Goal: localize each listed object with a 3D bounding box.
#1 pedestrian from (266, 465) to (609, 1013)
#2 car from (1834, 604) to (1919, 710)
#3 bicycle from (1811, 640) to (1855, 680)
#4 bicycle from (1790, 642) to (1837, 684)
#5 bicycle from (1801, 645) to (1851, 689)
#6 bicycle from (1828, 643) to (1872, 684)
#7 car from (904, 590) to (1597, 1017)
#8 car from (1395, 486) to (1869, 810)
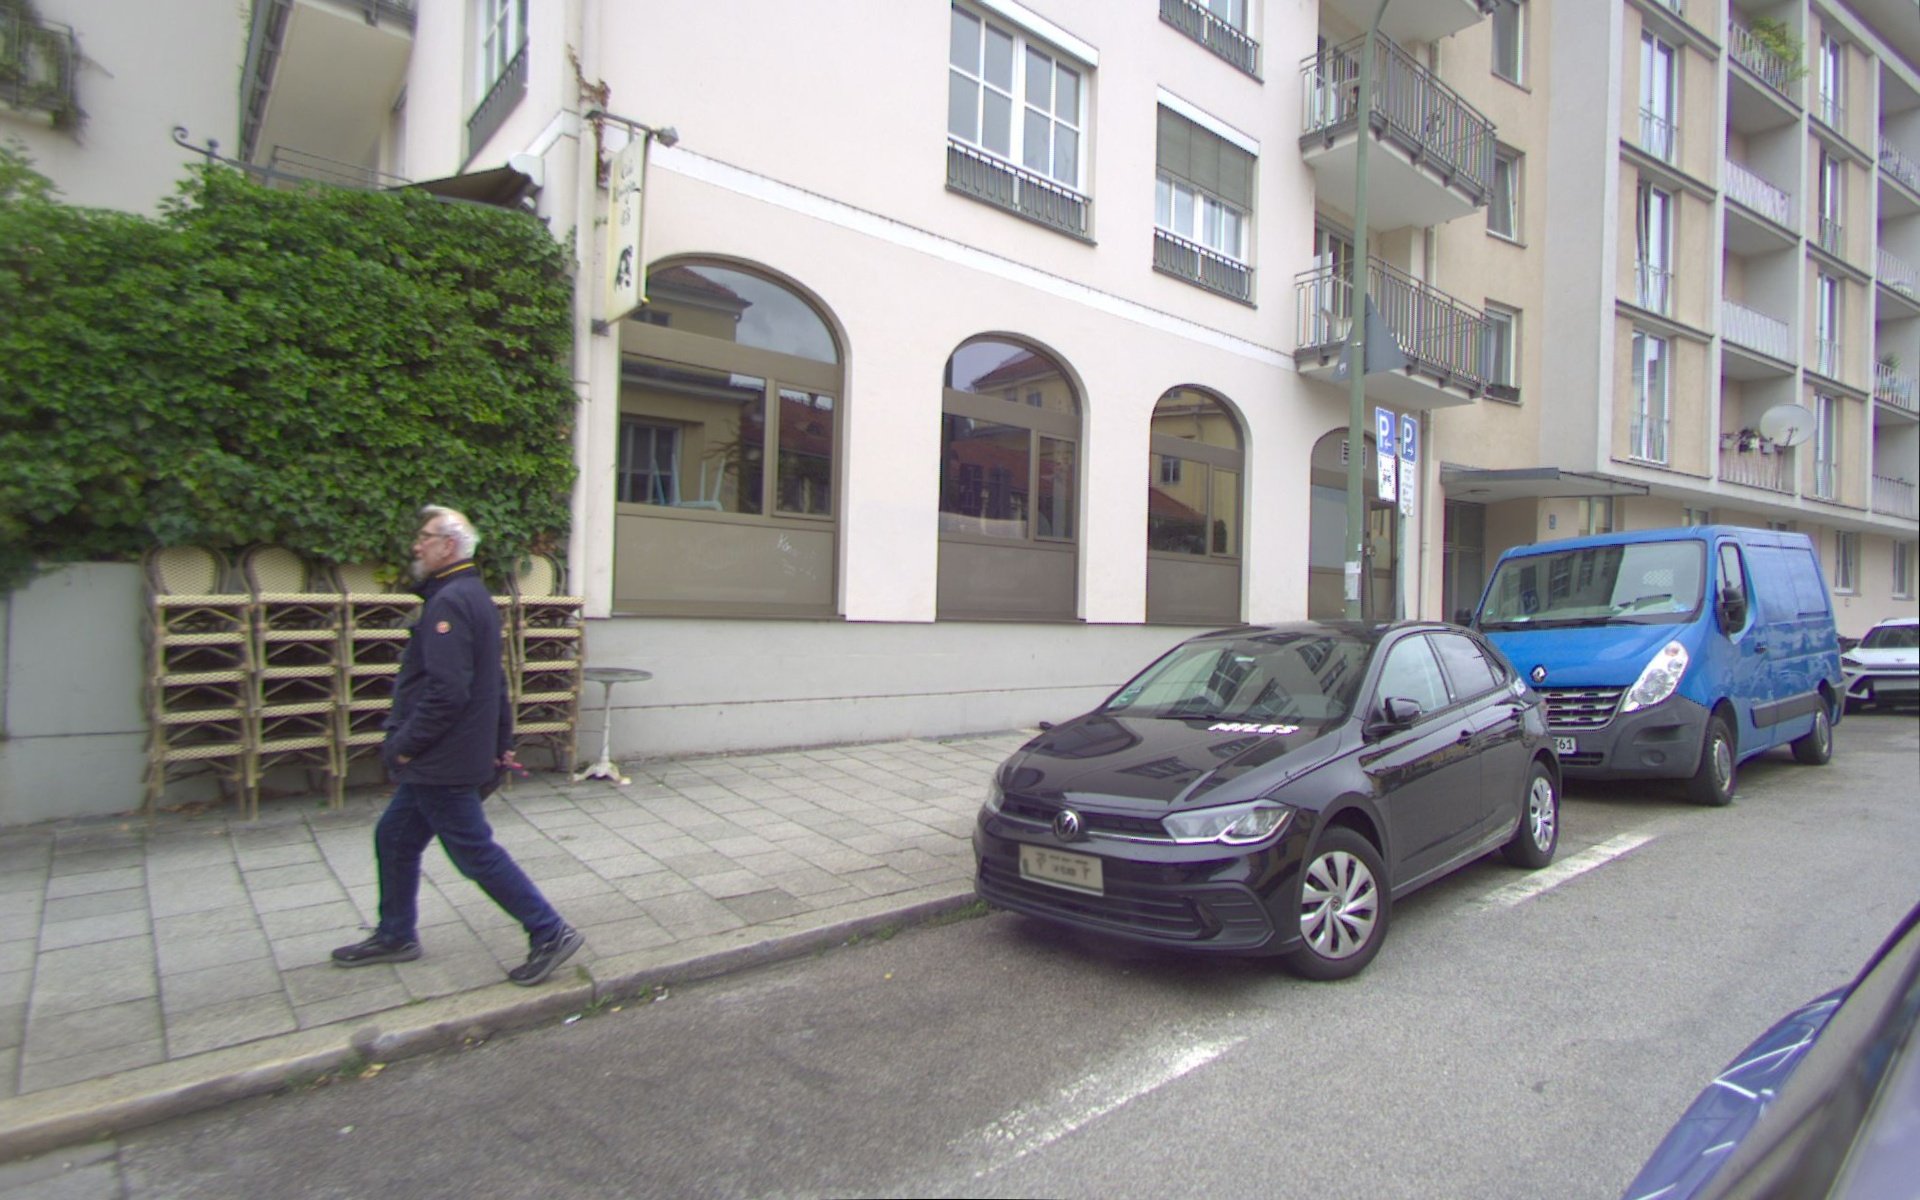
[{"bbox_3d":[-1.930,0.464,3.922,0.936,1.822,0.937,3,2,-15],"label":"pedestrian"},{"bbox_3d":[15.784,0.887,16.200,4.561,1.553,1.789,2,-3,-37],"label":"car"},{"bbox_3d":[20.780,1.414,24.084,1.364,0.916,0.379,2,-1,-31],"label":"bicycle"},{"bbox_3d":[19.401,1.415,23.004,1.364,0.916,0.379,2,-1,-31],"label":"bicycle"},{"bbox_3d":[18.786,1.445,21.942,1.364,0.916,0.379,2,1,-31],"label":"bicycle"},{"bbox_3d":[20.692,1.463,23.520,1.364,0.916,0.379,2,-1,-31],"label":"bicycle"},{"bbox_3d":[1.849,0.744,5.452,4.234,1.407,1.677,1,-4,-44],"label":"car"},{"bbox_3d":[6.468,0.353,9.484,5.149,2.263,2.083,-1,-3,-38],"label":"car"}]
